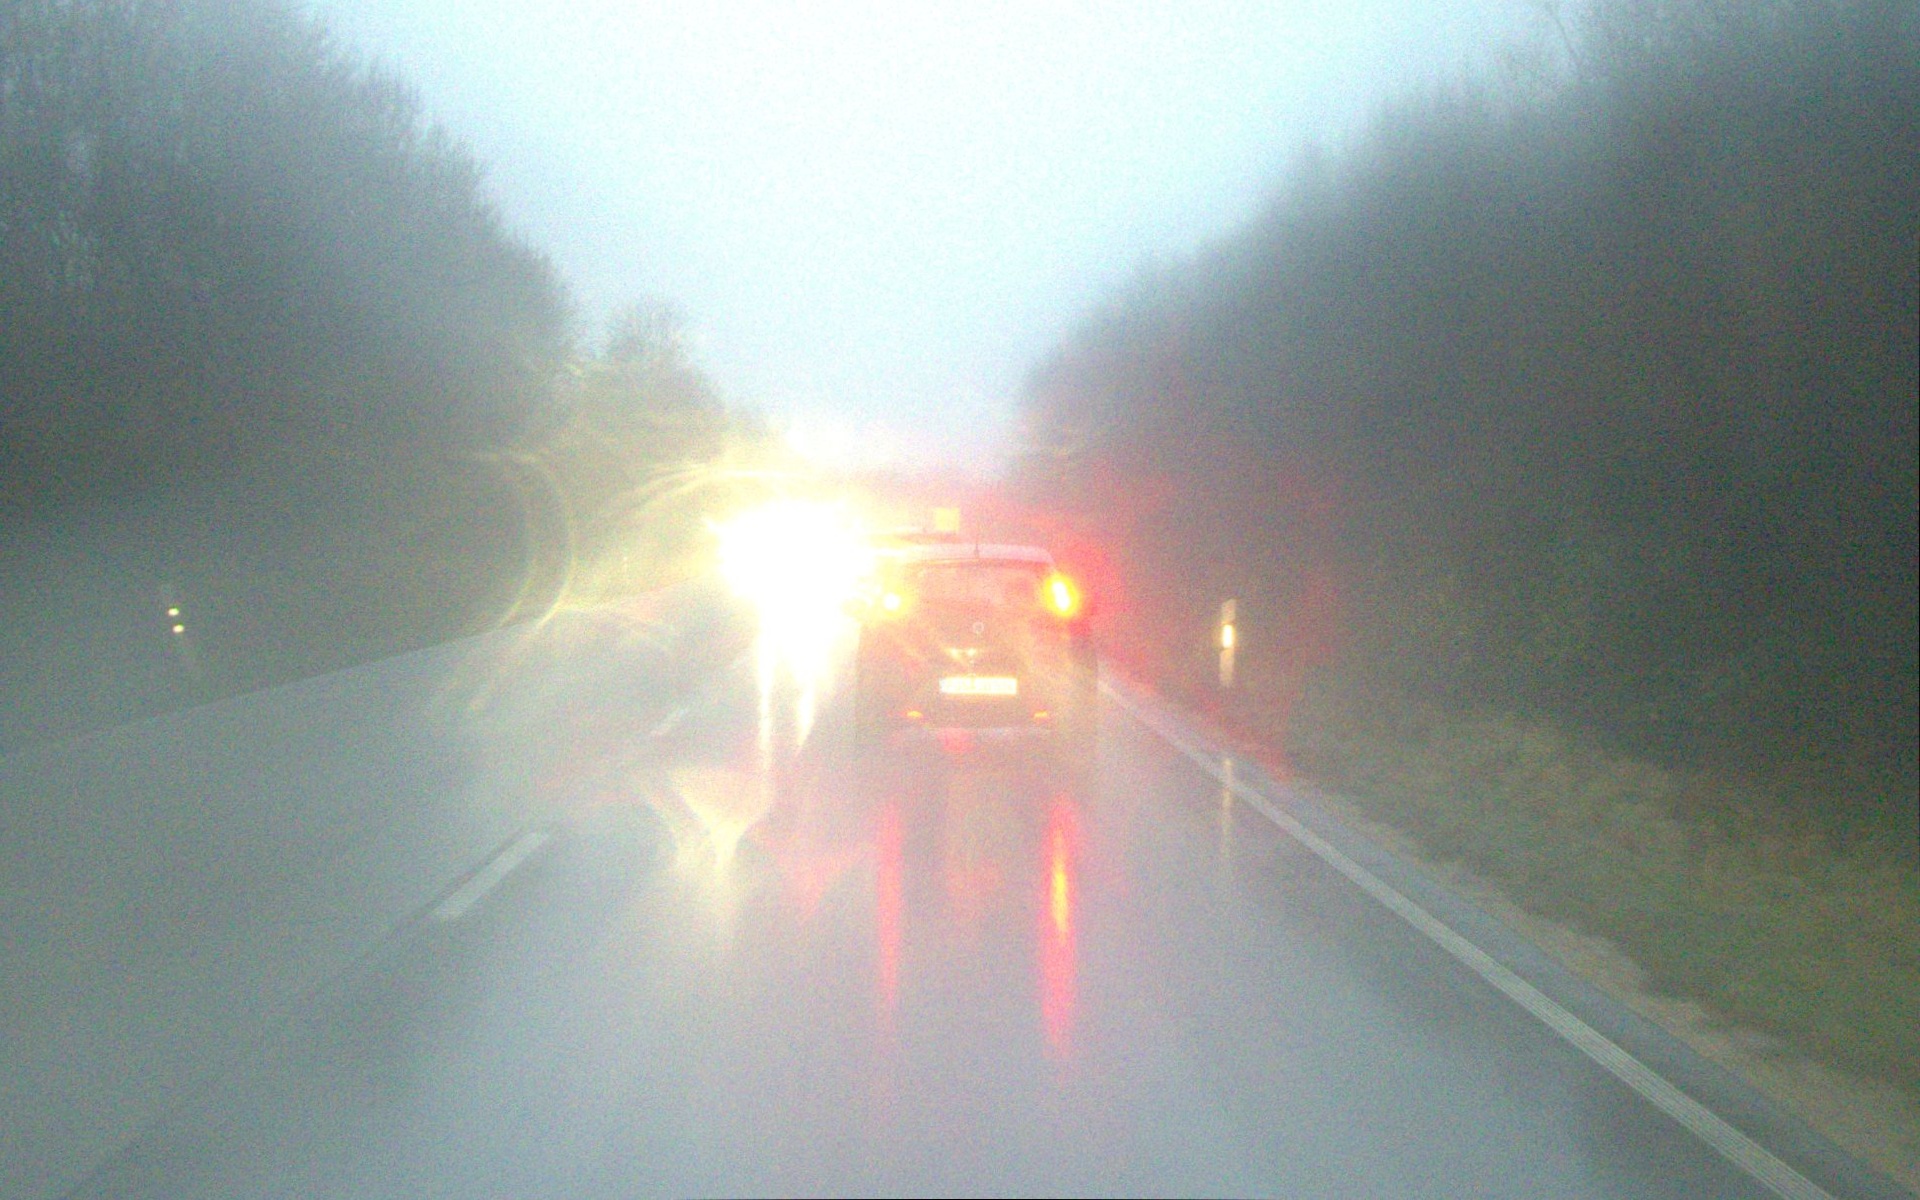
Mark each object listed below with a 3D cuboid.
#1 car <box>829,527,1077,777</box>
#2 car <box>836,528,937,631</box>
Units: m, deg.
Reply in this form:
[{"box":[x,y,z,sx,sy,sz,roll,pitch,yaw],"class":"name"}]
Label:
[{"box":[-0.025,0.320,24.776,1.648,1.666,3.514,0,1,1],"class":"car"},{"box":[-1.326,-0.393,61.767,1.733,1.773,4.000,0,1,-1],"class":"car"}]
